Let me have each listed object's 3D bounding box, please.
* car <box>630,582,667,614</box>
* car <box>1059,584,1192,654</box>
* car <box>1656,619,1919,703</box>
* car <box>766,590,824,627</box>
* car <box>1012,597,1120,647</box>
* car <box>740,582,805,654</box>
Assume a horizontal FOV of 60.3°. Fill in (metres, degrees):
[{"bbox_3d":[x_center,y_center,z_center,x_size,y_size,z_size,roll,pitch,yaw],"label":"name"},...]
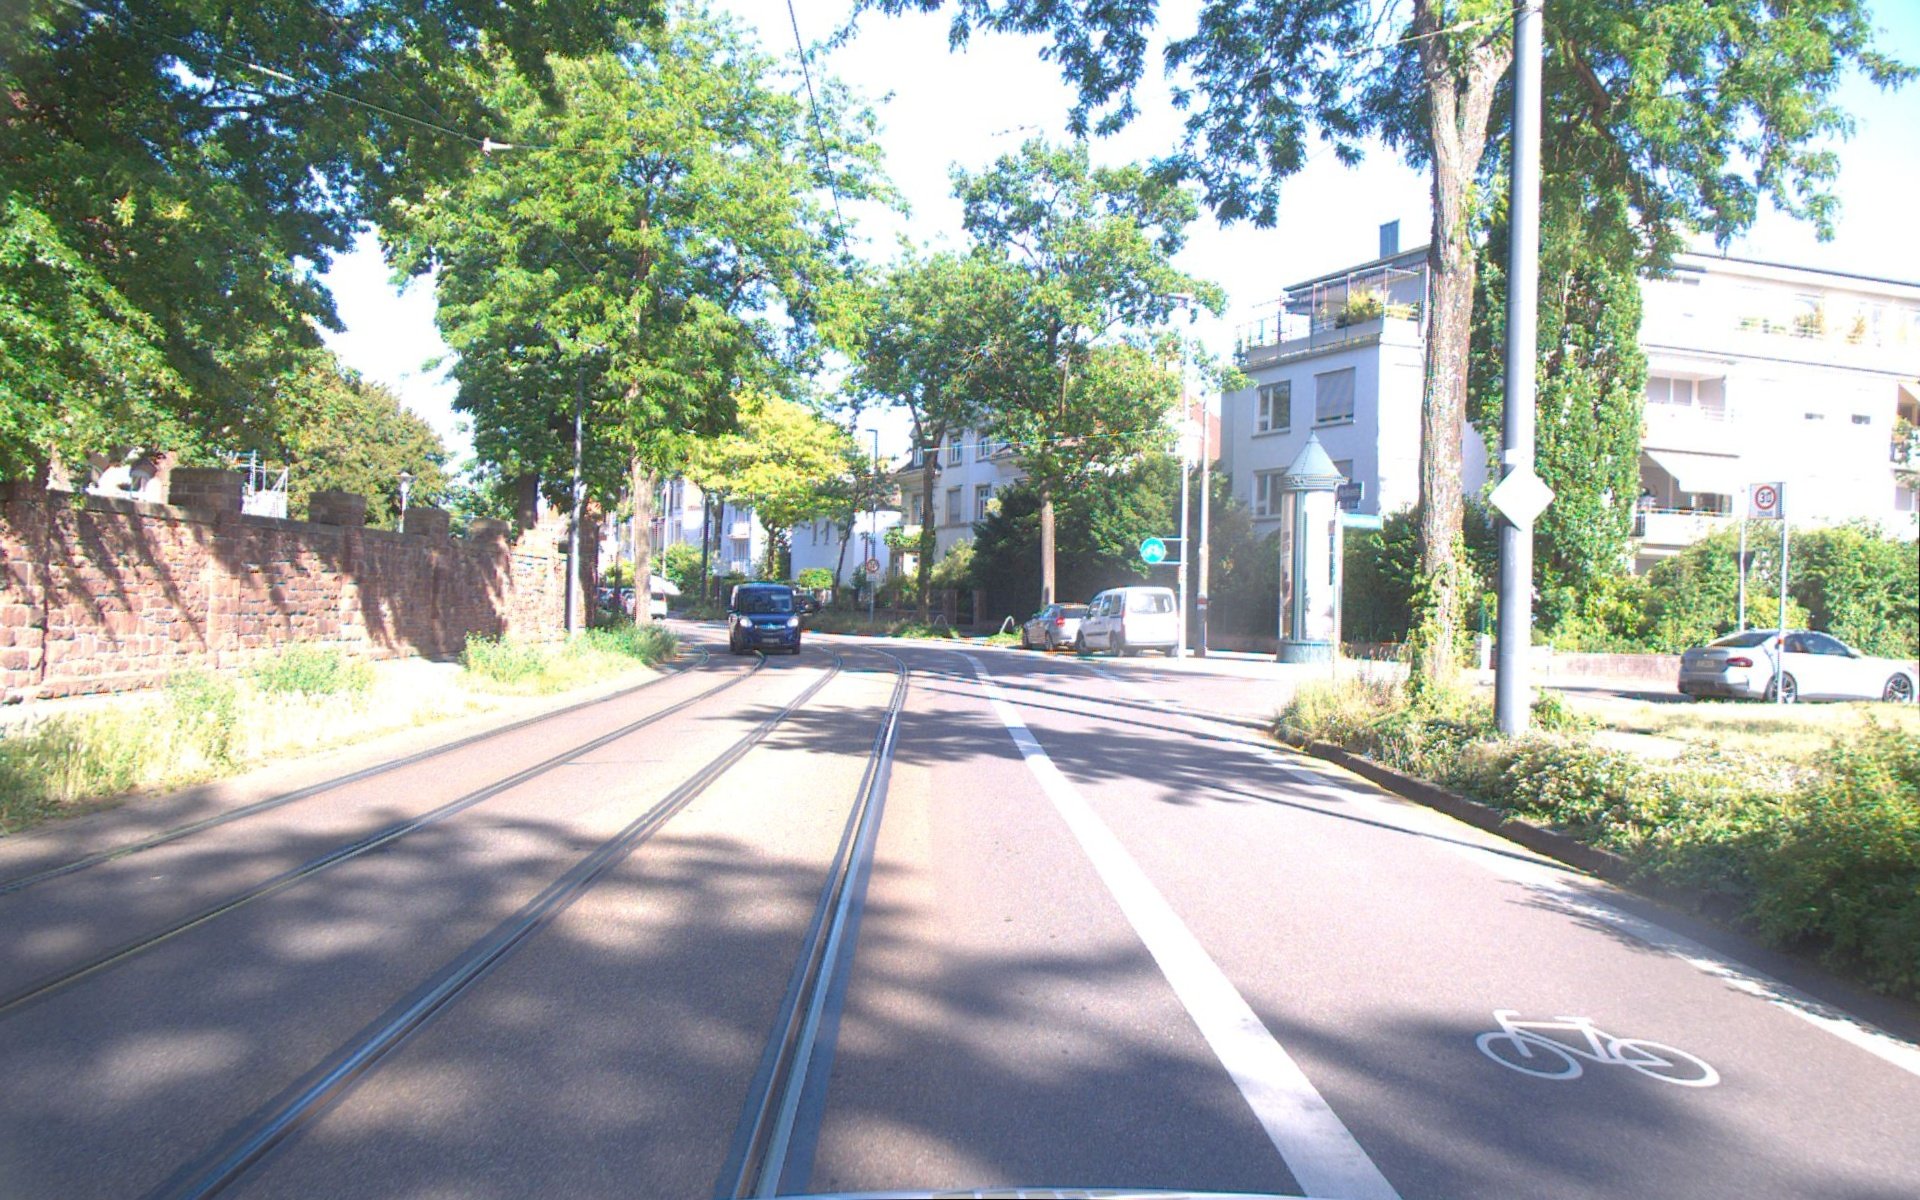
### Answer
[{"bbox_3d":[-17.723,-0.072,93.941,1.860,1.639,4.213,1,-2,-13],"label":"car"},{"bbox_3d":[4.420,0.471,45.058,1.990,1.777,4.731,1,0,-16],"label":"car"},{"bbox_3d":[15.064,1.096,29.860,4.442,1.393,1.958,1,0,-19],"label":"car"},{"bbox_3d":[-8.273,0.413,82.662,1.778,1.723,4.701,-2,1,-20],"label":"car"},{"bbox_3d":[3.209,0.657,50.923,1.962,1.448,4.312,1,-1,-17],"label":"car"},{"bbox_3d":[-5.025,0.450,44.646,1.601,1.823,4.333,1,0,-5],"label":"car"}]
